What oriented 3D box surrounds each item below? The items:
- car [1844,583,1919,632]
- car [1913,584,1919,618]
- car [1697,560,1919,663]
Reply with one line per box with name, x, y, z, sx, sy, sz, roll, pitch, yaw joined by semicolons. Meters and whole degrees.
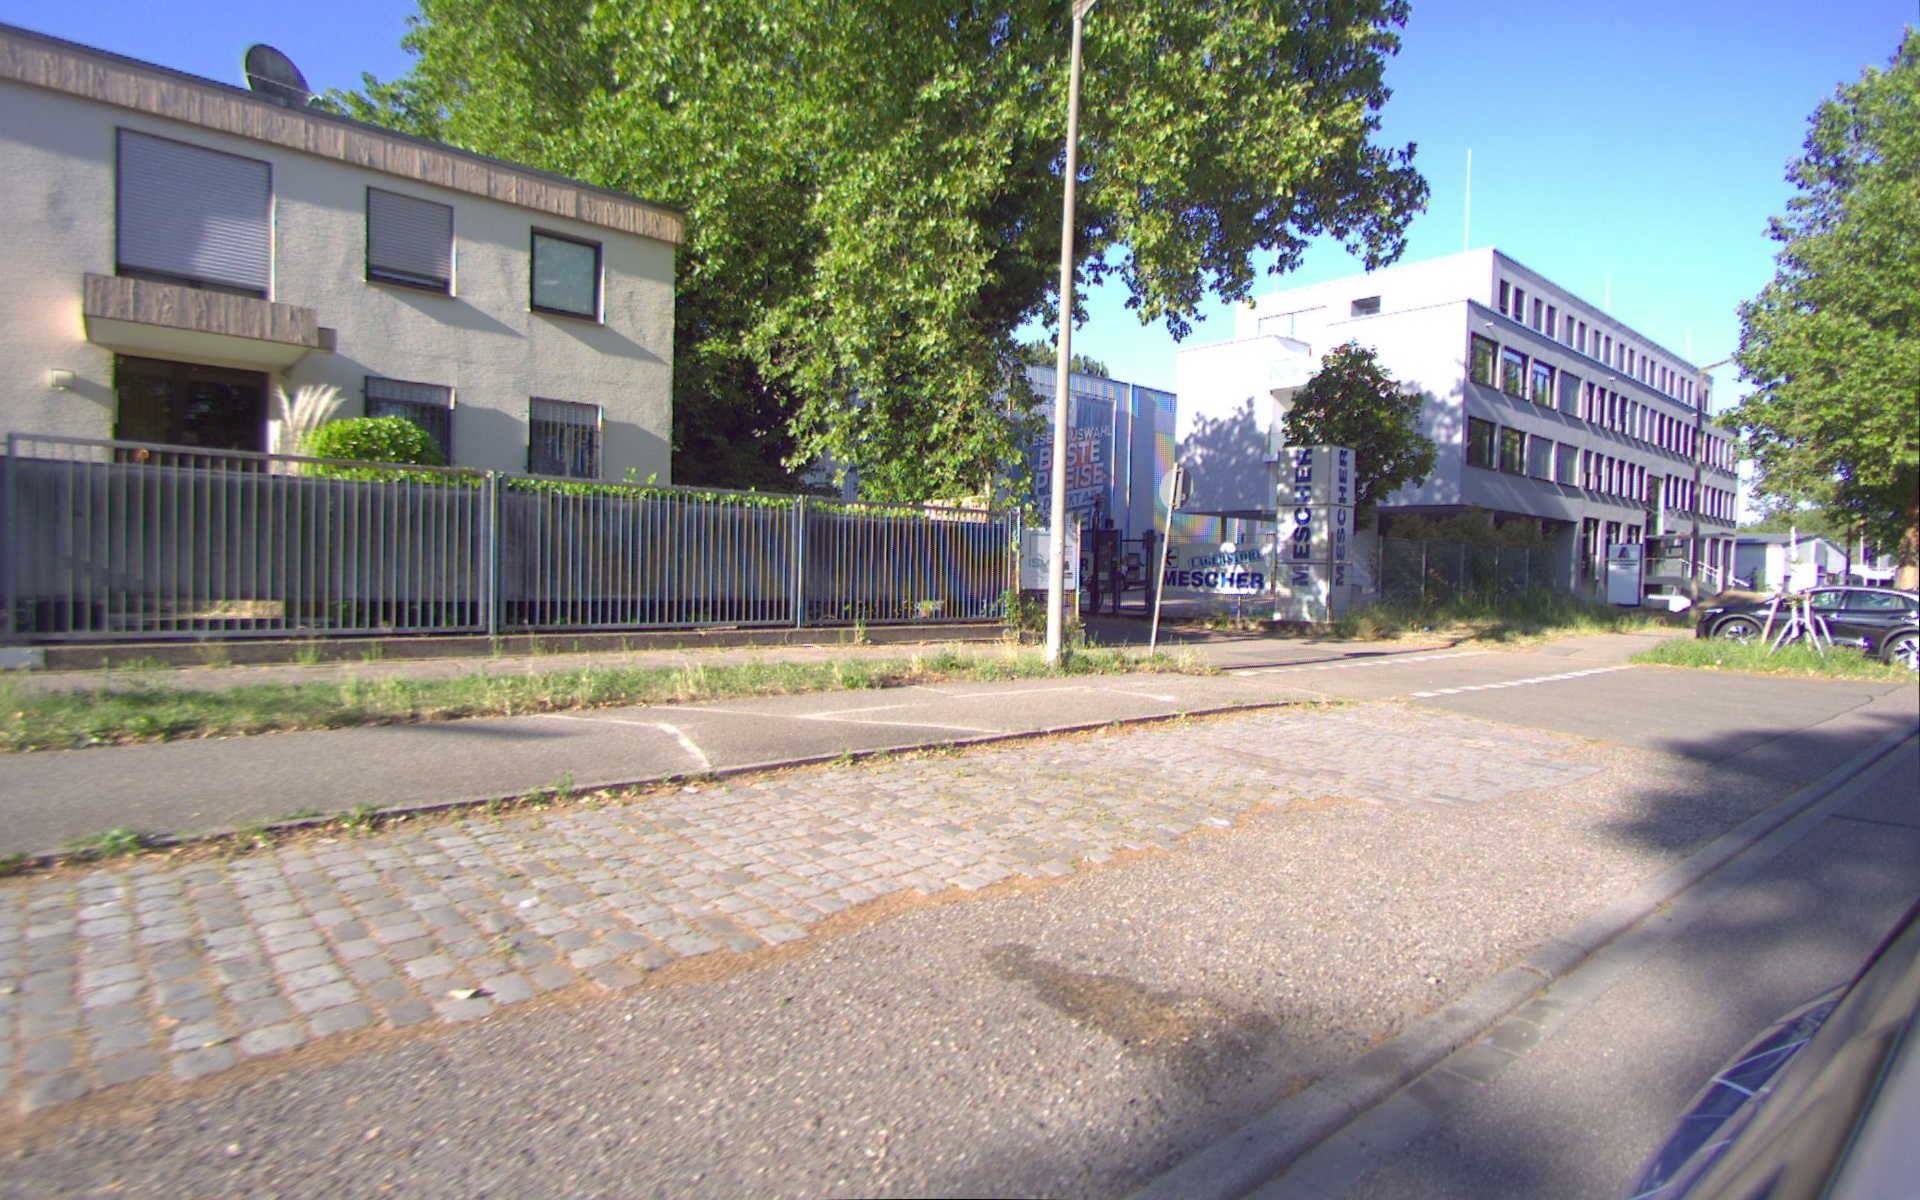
car;32.406;0.290;34.041;1.829;1.504;3.792;0;4;-42
car;45.814;0.277;45.364;1.829;1.503;4.295;0;7;-42
car;18.305;0.213;20.930;1.911;1.735;4.577;0;6;-44
